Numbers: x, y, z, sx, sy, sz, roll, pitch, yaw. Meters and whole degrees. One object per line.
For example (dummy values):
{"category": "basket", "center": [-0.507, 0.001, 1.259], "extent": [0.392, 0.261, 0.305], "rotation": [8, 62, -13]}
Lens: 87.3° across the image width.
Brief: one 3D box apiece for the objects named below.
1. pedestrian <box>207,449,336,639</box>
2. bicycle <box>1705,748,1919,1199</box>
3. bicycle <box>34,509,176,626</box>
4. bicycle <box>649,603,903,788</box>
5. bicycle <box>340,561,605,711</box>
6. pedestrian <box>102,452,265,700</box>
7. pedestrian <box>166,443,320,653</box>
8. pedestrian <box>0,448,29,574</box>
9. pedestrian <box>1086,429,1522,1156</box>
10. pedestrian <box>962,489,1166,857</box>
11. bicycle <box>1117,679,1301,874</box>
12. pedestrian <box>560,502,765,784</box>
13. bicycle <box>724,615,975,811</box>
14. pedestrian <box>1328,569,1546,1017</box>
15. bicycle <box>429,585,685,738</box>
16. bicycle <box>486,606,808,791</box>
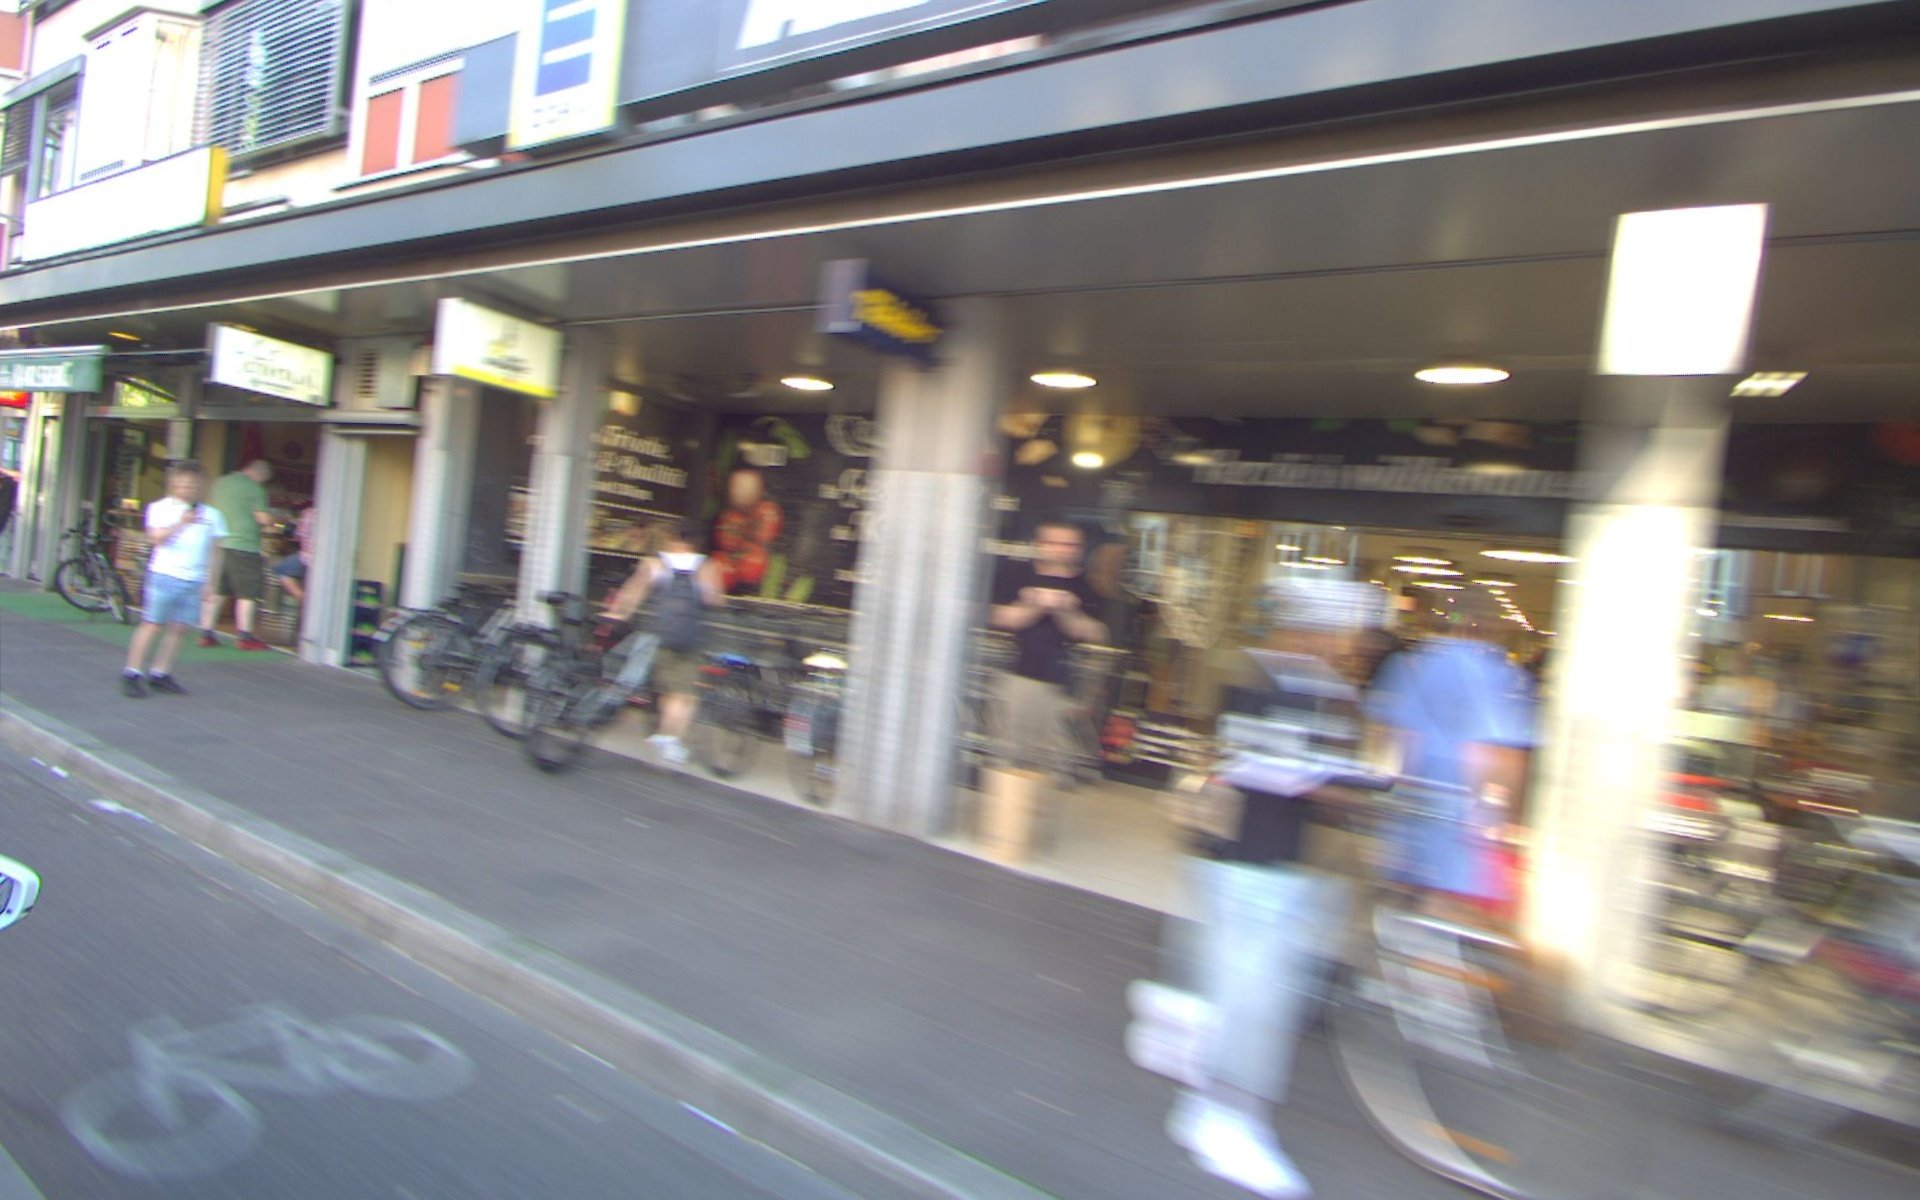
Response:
{"category": "pedestrian", "center": [-7.325, -0.576, 10.724], "extent": [0.674, 1.891, 0.779], "rotation": [6, 2, 12]}
{"category": "bicycle", "center": [3.044, 1.154, 2.594], "extent": [1.611, 1.192, 0.796], "rotation": [7, 4, 44]}
{"category": "bicycle", "center": [-9.216, -0.364, 10.827], "extent": [1.764, 1.082, 0.657], "rotation": [7, 5, 32]}
{"category": "bicycle", "center": [-1.213, 0.620, 7.085], "extent": [0.566, 1.074, 1.926], "rotation": [7, 2, 29]}
{"category": "bicycle", "center": [-3.991, 0.305, 8.416], "extent": [0.567, 1.074, 1.925], "rotation": [7, 2, 32]}
{"category": "pedestrian", "center": [-5.693, -0.173, 7.378], "extent": [0.758, 1.695, 0.632], "rotation": [7, 2, 32]}
{"category": "pedestrian", "center": [-6.939, -0.491, 9.751], "extent": [0.766, 1.892, 0.914], "rotation": [7, 4, 29]}
{"category": "pedestrian", "center": [-13.336, -1.244, 13.840], "extent": [0.460, 1.695, 0.542], "rotation": [7, 2, 23]}
{"category": "pedestrian", "center": [0.956, 0.524, 3.008], "extent": [0.793, 1.838, 0.732], "rotation": [7, 1, -5]}
{"category": "pedestrian", "center": [0.544, 0.390, 5.619], "extent": [0.793, 1.838, 0.732], "rotation": [7, 1, -5]}
{"category": "bicycle", "center": [1.674, 1.049, 6.507], "extent": [0.566, 0.950, 1.926], "rotation": [7, 1, 29]}
{"category": "pedestrian", "center": [-1.971, 0.257, 6.686], "extent": [0.902, 1.685, 0.777], "rotation": [7, 2, 30]}
{"category": "bicycle", "center": [-0.658, 0.691, 6.756], "extent": [0.566, 1.074, 1.926], "rotation": [7, 2, 29]}
{"category": "pedestrian", "center": [1.844, 0.713, 3.924], "extent": [0.403, 1.617, 0.457], "rotation": [3, 4, -30]}
{"category": "bicycle", "center": [-2.960, 0.440, 7.554], "extent": [0.498, 0.987, 1.728], "rotation": [7, 3, 37]}
{"category": "bicycle", "center": [-1.994, 0.594, 6.724], "extent": [0.648, 0.986, 2.021], "rotation": [8, 3, 34]}
